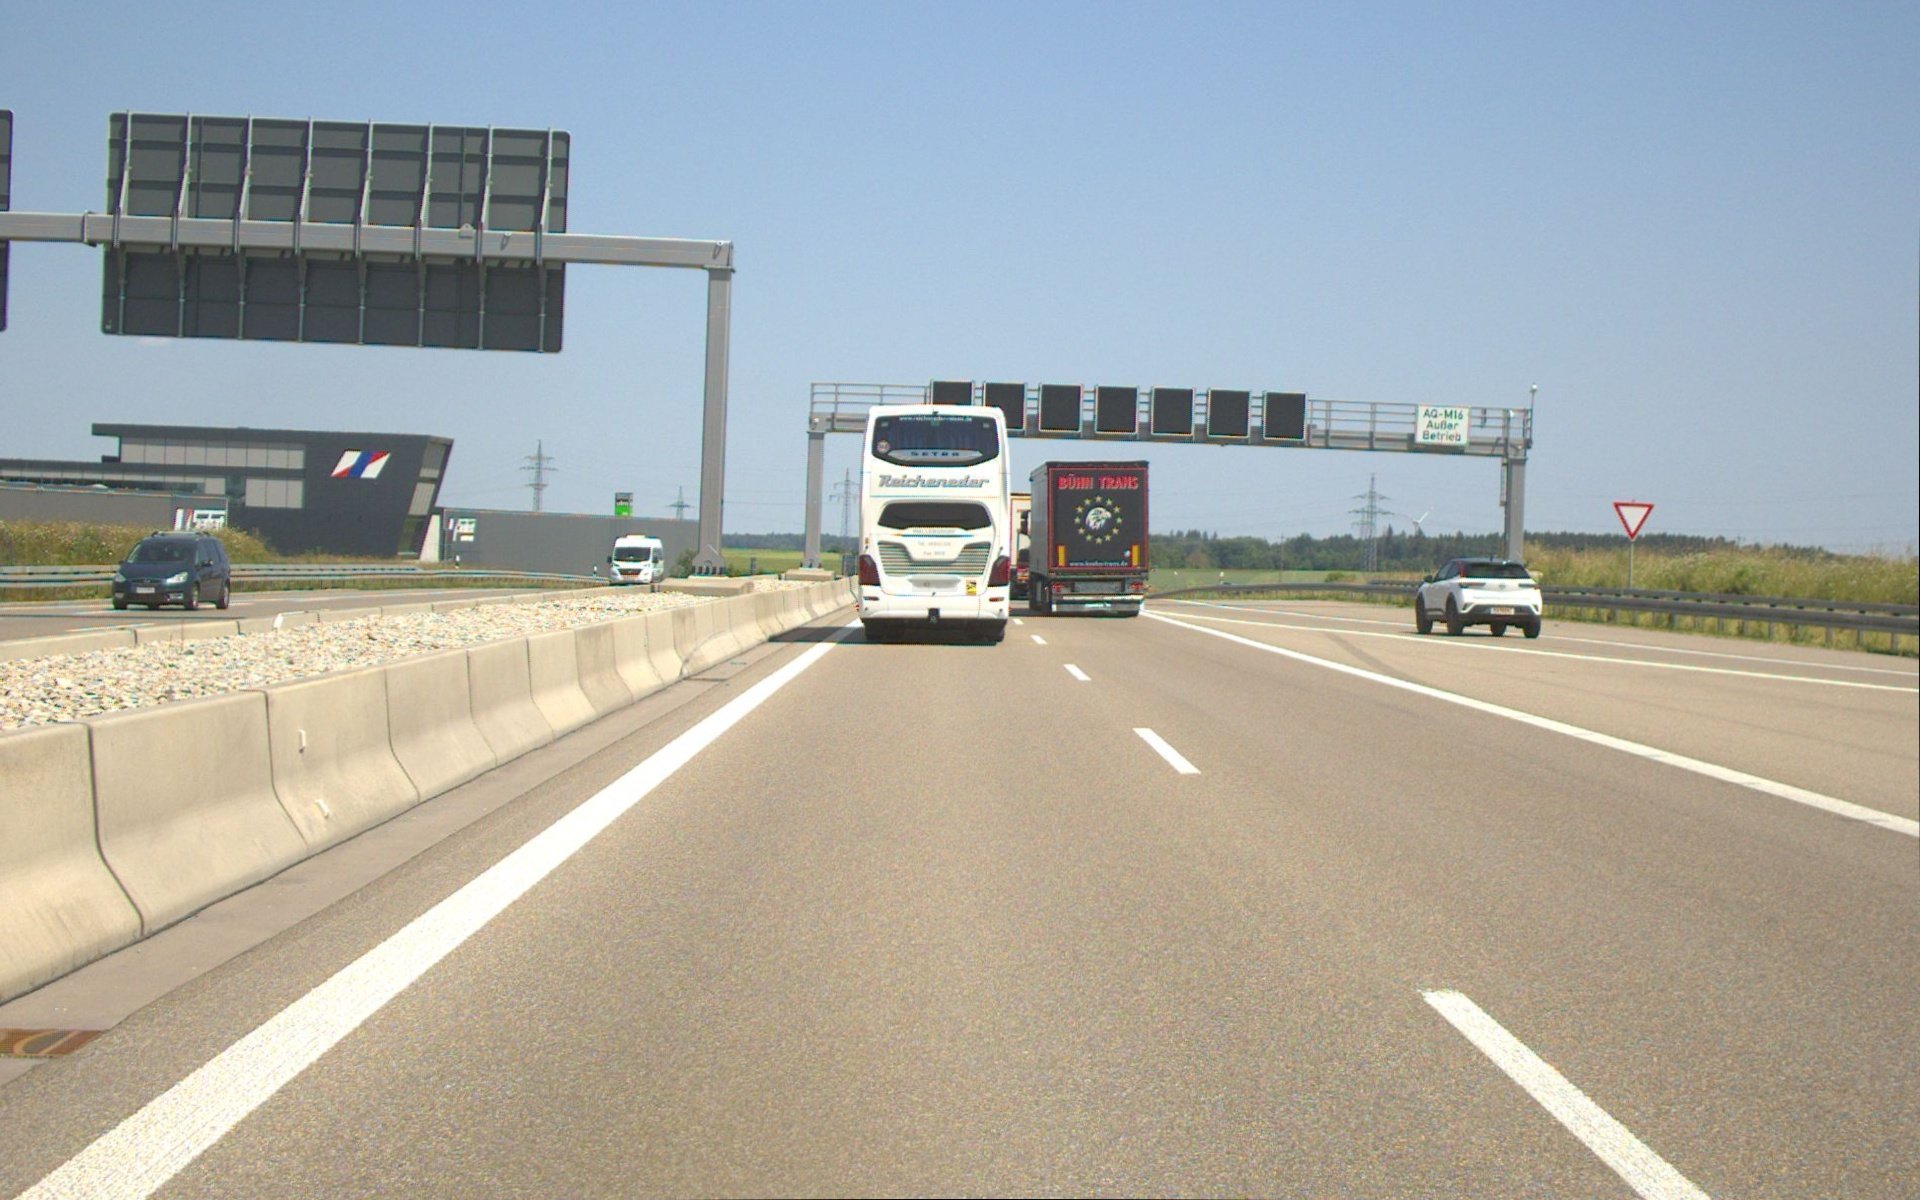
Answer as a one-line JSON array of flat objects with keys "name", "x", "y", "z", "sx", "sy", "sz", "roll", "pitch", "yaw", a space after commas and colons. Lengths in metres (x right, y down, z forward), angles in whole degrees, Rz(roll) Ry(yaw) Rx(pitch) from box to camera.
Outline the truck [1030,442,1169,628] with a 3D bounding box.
[{"name": "truck", "x": 3.652, "y": -1.578, "z": 93.149, "sx": 3.379, "sy": 4.449, "sz": 13.566, "roll": 2, "pitch": -1, "yaw": 1}]

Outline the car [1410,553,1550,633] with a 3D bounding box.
[{"name": "car", "x": 10.381, "y": -0.164, "z": 68.960, "sx": 1.890, "sy": 1.524, "sz": 4.262, "roll": 1, "pitch": 1, "yaw": -4}]

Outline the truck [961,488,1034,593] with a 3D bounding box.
[{"name": "truck", "x": 1.359, "y": -2.209, "z": 128.524, "sx": 2.437, "sy": 3.776, "sz": 6.494, "roll": 1, "pitch": 1, "yaw": -1}]

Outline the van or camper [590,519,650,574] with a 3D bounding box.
[{"name": "van or camper", "x": -16.524, "y": -2.609, "z": 167.422, "sx": 2.319, "sy": 2.549, "sz": 6.316, "roll": 1, "pitch": 1, "yaw": -1}]

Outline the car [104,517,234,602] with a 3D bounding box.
[{"name": "car", "x": -17.936, "y": -0.929, "z": 78.146, "sx": 1.846, "sy": 1.817, "sz": 4.921, "roll": 1, "pitch": 1, "yaw": -1}]

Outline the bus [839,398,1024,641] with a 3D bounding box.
[{"name": "bus", "x": -0.608, "y": -1.466, "z": 61.463, "sx": 2.980, "sy": 3.961, "sz": 9.106, "roll": 1, "pitch": 2, "yaw": -2}]
